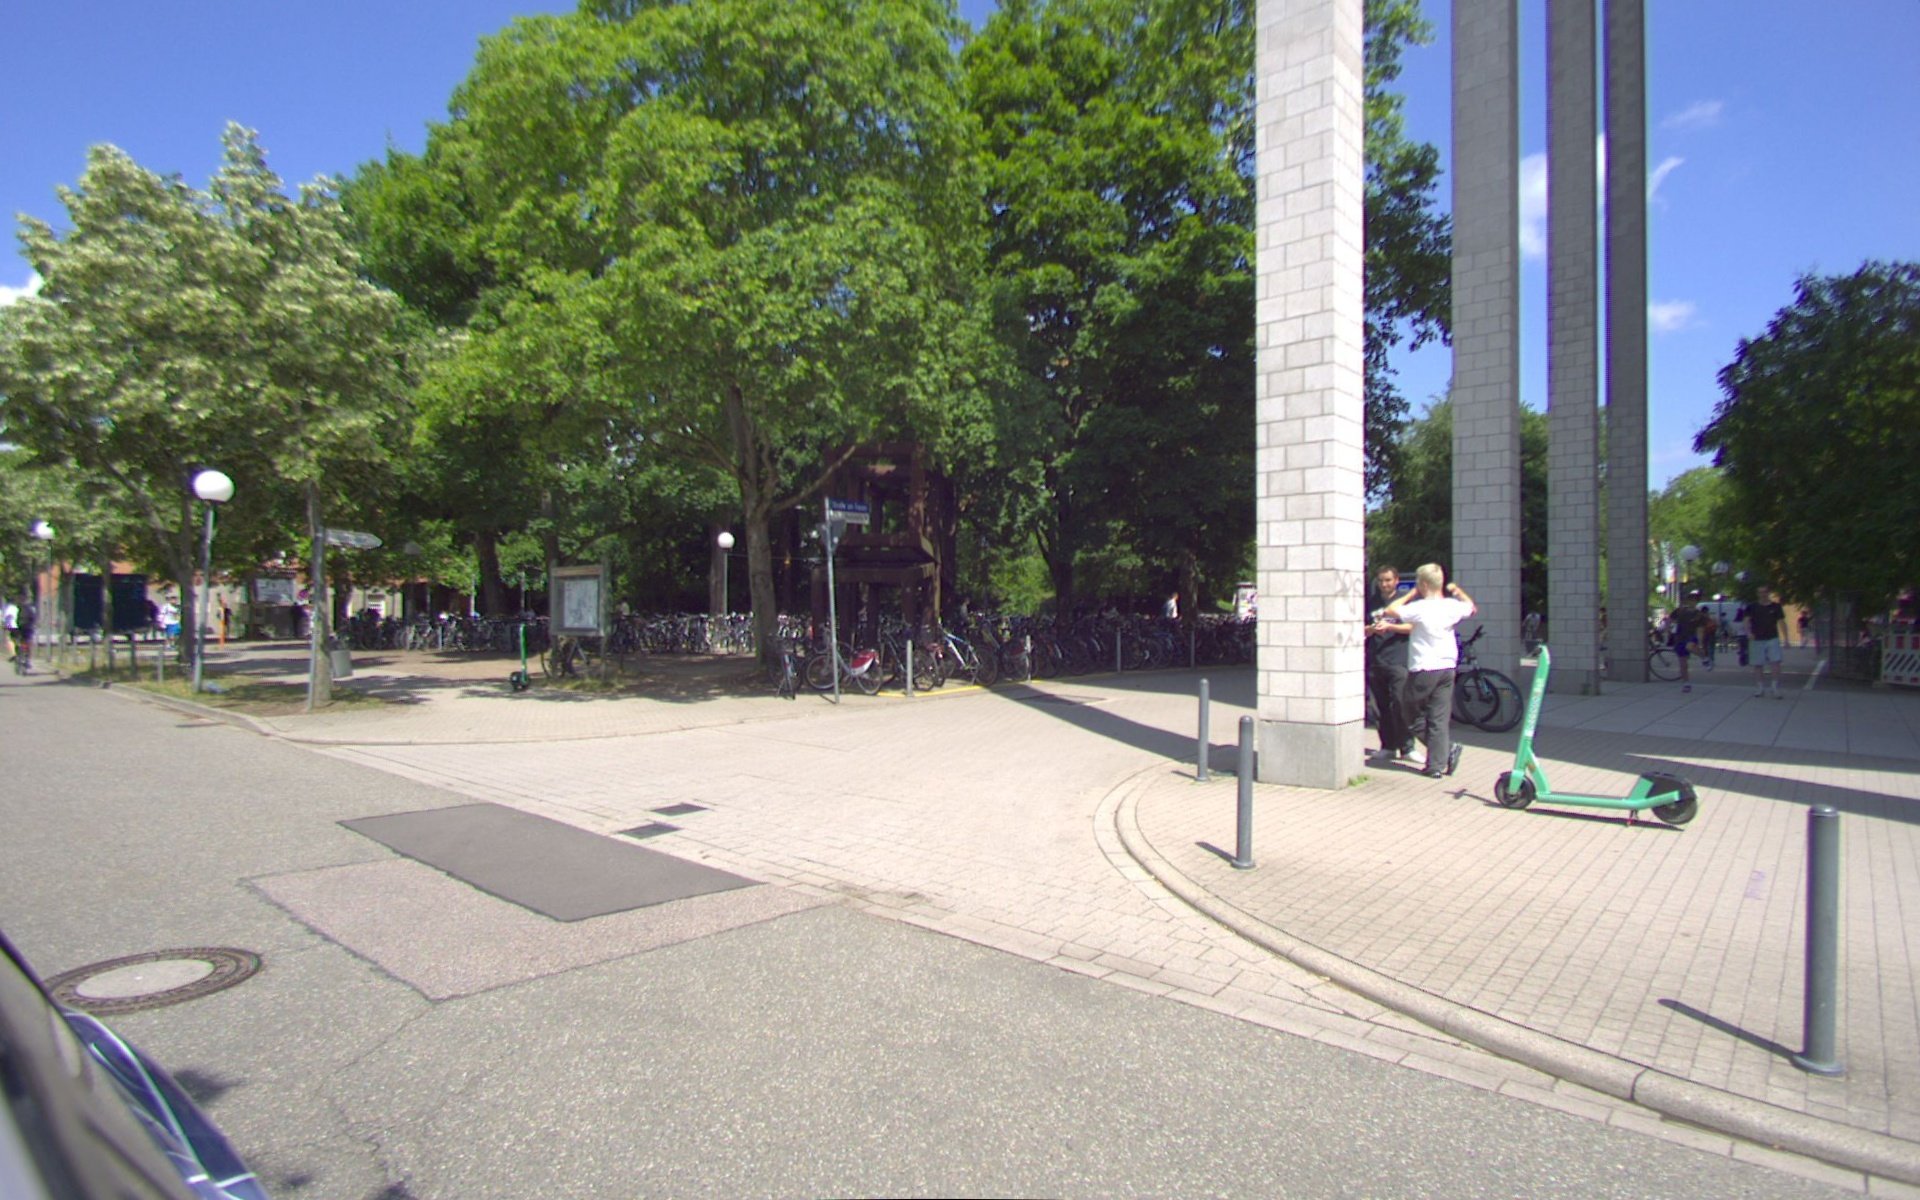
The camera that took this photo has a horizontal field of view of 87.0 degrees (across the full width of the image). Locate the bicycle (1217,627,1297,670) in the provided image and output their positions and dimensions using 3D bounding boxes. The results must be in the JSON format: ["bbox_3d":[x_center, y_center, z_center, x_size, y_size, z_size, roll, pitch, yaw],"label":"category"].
[{"bbox_3d":[7.897,1.280,26.983,1.972,1.094,0.546,-1,0,42],"label":"bicycle"}]

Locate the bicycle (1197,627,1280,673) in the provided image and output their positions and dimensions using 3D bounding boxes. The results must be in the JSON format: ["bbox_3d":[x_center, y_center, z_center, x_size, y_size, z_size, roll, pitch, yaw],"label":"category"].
[{"bbox_3d":[7.054,1.257,25.718,1.972,1.094,0.546,-1,0,42],"label":"bicycle"}]

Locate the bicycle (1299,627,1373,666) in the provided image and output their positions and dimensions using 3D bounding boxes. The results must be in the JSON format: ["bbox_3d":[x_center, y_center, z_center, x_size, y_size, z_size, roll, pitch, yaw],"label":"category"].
[{"bbox_3d":[11.158,1.364,30.097,1.972,1.094,0.546,-1,0,42],"label":"bicycle"}]

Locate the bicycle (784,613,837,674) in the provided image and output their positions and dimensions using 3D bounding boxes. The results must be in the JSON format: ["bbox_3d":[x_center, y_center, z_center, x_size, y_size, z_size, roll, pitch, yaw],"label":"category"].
[{"bbox_3d":[-3.252,0.945,22.164,0.581,1.263,2.015,-1,-2,9],"label":"bicycle"}]

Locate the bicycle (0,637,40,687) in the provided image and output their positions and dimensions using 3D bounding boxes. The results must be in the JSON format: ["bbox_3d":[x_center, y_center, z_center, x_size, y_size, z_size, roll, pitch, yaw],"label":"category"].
[{"bbox_3d":[-22.822,1.479,24.394,1.887,1.138,0.678,-1,-2,40],"label":"bicycle"}]

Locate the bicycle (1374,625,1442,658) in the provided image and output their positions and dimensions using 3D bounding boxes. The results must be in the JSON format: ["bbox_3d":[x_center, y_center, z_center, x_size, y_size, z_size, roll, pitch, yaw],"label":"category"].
[{"bbox_3d":[14.811,1.363,33.494,1.970,1.031,0.611,-1,0,37],"label":"bicycle"}]

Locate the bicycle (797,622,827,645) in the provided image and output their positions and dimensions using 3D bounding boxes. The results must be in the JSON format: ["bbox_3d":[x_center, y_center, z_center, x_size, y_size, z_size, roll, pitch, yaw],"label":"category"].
[{"bbox_3d":[-6.237,1.418,42.687,0.416,0.900,1.755,-1,-1,21],"label":"bicycle"}]

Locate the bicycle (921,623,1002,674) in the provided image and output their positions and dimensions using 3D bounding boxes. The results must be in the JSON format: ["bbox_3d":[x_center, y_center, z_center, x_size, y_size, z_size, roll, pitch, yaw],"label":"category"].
[{"bbox_3d":[0.013,0.995,21.239,1.850,1.040,0.470,-1,-1,43],"label":"bicycle"}]

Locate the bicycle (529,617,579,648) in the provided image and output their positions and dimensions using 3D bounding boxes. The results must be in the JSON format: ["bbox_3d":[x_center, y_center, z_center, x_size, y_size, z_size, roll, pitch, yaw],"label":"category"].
[{"bbox_3d":[-15.496,1.229,38.693,0.544,1.097,1.951,-1,-1,25],"label":"bicycle"}]

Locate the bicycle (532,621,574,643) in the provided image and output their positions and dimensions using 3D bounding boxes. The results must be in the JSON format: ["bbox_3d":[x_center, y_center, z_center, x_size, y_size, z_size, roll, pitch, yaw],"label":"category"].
[{"bbox_3d":[-18.542,1.433,46.142,0.544,0.949,1.866,0,0,28],"label":"bicycle"}]

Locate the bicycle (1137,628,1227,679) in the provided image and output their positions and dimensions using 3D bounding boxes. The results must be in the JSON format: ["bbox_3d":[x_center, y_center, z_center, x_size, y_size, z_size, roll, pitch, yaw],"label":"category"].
[{"bbox_3d":[5.039,1.204,23.030,1.972,1.094,0.546,-1,0,42],"label":"bicycle"}]

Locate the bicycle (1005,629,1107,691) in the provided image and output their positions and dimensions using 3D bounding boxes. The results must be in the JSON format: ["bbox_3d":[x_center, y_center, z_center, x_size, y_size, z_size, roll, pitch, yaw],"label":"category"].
[{"bbox_3d":[1.790,1.119,19.181,1.972,1.094,0.546,-1,0,42],"label":"bicycle"}]

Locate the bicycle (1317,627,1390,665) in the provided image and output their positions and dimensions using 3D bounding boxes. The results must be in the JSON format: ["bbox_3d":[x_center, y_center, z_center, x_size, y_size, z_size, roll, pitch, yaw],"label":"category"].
[{"bbox_3d":[11.881,1.382,30.613,1.972,1.094,0.546,-1,0,42],"label":"bicycle"}]

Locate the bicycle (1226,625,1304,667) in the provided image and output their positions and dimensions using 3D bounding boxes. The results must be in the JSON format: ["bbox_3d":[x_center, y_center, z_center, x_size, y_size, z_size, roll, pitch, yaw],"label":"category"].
[{"bbox_3d":[8.276,1.228,27.485,1.972,1.094,0.546,-1,0,42],"label":"bicycle"}]

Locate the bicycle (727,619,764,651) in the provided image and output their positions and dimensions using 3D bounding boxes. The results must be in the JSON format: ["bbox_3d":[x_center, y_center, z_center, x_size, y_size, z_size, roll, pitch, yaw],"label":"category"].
[{"bbox_3d":[-7.839,1.269,37.057,0.541,1.097,1.959,-1,-1,12],"label":"bicycle"}]

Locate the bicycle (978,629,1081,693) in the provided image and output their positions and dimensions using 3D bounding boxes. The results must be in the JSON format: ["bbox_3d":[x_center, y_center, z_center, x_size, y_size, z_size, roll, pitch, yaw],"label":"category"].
[{"bbox_3d":[1.268,1.105,18.782,1.972,1.094,0.546,-1,0,42],"label":"bicycle"}]

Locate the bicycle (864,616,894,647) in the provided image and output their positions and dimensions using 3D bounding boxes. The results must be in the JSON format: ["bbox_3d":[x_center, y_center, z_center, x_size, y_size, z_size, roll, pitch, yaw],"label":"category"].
[{"bbox_3d":[-3.322,1.281,41.597,0.421,1.216,1.782,-1,-1,25],"label":"bicycle"}]

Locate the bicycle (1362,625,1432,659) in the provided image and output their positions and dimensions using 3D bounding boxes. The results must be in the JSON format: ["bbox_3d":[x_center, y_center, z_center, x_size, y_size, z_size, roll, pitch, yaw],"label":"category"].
[{"bbox_3d":[14.014,1.340,32.489,1.970,1.031,0.611,-1,0,37],"label":"bicycle"}]

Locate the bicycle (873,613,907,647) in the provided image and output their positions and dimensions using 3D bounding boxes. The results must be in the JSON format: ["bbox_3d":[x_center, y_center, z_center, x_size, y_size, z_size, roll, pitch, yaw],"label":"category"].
[{"bbox_3d":[-2.487,1.054,36.162,0.727,1.117,2.299,-1,0,9],"label":"bicycle"}]

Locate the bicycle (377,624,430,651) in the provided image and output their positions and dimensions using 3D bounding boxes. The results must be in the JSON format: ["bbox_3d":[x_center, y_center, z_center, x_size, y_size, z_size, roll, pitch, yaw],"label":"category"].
[{"bbox_3d":[-22.066,1.484,40.138,0.538,1.022,1.782,-2,-1,44],"label":"bicycle"}]

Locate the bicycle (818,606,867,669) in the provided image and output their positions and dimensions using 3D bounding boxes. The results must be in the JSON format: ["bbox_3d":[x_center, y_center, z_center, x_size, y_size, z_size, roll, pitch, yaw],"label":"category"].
[{"bbox_3d":[-2.834,0.876,24.534,0.600,1.461,2.284,-1,-1,8],"label":"bicycle"}]

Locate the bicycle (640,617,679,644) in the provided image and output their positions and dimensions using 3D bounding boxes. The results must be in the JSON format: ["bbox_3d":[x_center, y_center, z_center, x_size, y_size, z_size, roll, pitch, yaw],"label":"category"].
[{"bbox_3d":[-12.969,1.320,43.682,0.592,1.099,1.946,0,0,19],"label":"bicycle"}]

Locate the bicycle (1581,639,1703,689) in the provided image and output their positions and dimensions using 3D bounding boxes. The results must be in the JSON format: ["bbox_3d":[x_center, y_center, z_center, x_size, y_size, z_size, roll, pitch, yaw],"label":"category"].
[{"bbox_3d":[13.854,1.285,20.598,1.993,0.953,0.520,-1,-2,41],"label":"bicycle"}]

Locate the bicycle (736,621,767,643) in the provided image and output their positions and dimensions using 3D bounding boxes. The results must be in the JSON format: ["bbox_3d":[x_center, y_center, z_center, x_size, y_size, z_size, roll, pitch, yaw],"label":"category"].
[{"bbox_3d":[-8.917,1.363,43.399,0.416,0.900,1.755,-1,-1,21],"label":"bicycle"}]

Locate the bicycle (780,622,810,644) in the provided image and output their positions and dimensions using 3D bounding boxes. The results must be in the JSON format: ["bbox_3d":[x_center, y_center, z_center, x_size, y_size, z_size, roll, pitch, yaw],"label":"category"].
[{"bbox_3d":[-6.993,1.401,42.968,0.416,0.900,1.755,-1,-1,21],"label":"bicycle"}]

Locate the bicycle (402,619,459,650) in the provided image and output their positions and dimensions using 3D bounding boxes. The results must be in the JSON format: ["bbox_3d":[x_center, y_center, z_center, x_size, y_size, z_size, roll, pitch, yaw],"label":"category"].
[{"bbox_3d":[-20.405,1.312,39.057,0.535,1.134,1.947,-1,-1,31],"label":"bicycle"}]

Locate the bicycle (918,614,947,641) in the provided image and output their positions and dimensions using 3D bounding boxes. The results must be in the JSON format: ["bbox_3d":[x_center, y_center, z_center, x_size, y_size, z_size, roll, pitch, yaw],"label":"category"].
[{"bbox_3d":[-1.099,1.080,40.697,0.502,1.043,2.049,-1,-1,18],"label":"bicycle"}]

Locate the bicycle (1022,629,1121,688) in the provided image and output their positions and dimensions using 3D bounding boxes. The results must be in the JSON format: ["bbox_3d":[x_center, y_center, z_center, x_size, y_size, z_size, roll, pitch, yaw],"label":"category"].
[{"bbox_3d":[2.177,1.129,19.956,1.972,1.094,0.546,-1,0,42],"label":"bicycle"}]

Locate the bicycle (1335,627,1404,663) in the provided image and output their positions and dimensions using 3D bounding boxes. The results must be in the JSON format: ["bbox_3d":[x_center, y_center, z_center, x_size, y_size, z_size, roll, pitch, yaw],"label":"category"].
[{"bbox_3d":[13.095,1.415,32.395,1.972,1.094,0.546,-1,0,42],"label":"bicycle"}]

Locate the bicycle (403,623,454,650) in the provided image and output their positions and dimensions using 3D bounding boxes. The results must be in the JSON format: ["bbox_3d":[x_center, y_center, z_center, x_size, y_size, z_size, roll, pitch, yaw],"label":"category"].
[{"bbox_3d":[-21.730,1.490,41.380,0.538,1.022,1.782,-2,-1,44],"label":"bicycle"}]

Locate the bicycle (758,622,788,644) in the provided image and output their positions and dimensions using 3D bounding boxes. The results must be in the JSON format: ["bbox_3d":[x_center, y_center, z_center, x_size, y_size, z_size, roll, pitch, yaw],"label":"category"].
[{"bbox_3d":[-7.968,1.393,43.197,0.416,0.900,1.755,-1,-1,21],"label":"bicycle"}]

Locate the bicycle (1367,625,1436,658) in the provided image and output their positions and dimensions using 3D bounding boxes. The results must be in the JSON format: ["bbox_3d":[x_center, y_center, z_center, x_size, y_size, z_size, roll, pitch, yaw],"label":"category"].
[{"bbox_3d":[14.389,1.350,33.030,1.970,1.031,0.611,-1,0,37],"label":"bicycle"}]

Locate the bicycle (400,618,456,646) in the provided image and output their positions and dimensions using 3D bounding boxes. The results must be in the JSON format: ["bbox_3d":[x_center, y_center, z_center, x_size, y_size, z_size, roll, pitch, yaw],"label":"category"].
[{"bbox_3d":[-20.917,1.252,39.819,0.535,1.011,1.947,-1,-1,31],"label":"bicycle"}]

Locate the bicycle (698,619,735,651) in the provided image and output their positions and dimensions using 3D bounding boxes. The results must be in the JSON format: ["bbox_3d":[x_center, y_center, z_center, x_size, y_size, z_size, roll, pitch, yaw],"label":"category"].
[{"bbox_3d":[-8.958,1.281,37.317,0.541,1.097,1.959,-1,-1,12],"label":"bicycle"}]

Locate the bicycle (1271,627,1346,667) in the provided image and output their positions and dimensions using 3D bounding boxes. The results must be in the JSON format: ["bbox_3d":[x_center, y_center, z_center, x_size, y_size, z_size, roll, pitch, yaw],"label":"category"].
[{"bbox_3d":[9.966,1.333,28.992,1.972,1.094,0.546,-1,0,42],"label":"bicycle"}]

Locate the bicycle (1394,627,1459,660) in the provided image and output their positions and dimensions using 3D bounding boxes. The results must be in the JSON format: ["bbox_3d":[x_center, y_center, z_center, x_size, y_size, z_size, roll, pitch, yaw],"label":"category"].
[{"bbox_3d":[16.324,1.498,35.415,1.972,1.094,0.546,-1,0,42],"label":"bicycle"}]

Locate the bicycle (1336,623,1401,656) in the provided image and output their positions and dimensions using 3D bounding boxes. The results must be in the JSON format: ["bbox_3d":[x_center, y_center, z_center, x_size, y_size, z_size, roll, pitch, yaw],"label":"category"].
[{"bbox_3d":[14.228,1.373,35.281,1.972,1.094,0.610,-1,0,42],"label":"bicycle"}]

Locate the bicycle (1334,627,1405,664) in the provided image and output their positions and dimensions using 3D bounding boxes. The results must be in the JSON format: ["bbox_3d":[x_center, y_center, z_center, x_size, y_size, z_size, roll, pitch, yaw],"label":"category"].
[{"bbox_3d":[12.809,1.406,31.665,1.972,1.094,0.546,-1,0,42],"label":"bicycle"}]

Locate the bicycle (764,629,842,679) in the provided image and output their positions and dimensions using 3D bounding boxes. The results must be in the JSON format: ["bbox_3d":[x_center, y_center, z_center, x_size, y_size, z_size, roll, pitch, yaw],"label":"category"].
[{"bbox_3d":[-3.201,1.086,20.532,1.650,0.972,0.472,-1,-1,31],"label":"bicycle"}]

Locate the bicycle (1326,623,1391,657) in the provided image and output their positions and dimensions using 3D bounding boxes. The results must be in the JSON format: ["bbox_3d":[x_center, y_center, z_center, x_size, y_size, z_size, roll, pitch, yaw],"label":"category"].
[{"bbox_3d":[13.645,1.361,34.712,1.972,1.094,0.610,-1,0,42],"label":"bicycle"}]

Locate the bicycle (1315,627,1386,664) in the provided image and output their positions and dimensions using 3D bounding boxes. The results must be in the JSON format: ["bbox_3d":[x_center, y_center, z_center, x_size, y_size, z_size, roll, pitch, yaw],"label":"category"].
[{"bbox_3d":[12.064,1.388,31.299,1.972,1.094,0.546,-1,0,42],"label":"bicycle"}]

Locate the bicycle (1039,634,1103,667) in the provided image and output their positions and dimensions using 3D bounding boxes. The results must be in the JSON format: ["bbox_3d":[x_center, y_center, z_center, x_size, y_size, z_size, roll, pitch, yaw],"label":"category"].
[{"bbox_3d":[2.714,1.237,24.783,1.542,0.768,0.322,-1,-1,9],"label":"bicycle"}]

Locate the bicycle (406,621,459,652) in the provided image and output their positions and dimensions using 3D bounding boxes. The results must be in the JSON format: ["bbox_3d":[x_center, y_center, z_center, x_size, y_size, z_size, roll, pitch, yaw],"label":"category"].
[{"bbox_3d":[-19.580,1.353,37.582,0.543,1.097,1.848,-1,-1,20],"label":"bicycle"}]

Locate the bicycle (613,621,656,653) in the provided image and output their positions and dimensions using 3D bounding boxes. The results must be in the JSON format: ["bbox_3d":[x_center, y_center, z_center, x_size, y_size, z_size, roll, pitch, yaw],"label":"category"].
[{"bbox_3d":[-11.595,1.304,36.081,0.541,1.097,1.959,-1,-1,12],"label":"bicycle"}]

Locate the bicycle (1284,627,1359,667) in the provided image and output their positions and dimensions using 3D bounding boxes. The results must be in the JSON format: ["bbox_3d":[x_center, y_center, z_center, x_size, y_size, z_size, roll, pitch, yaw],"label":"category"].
[{"bbox_3d":[10.494,1.347,29.413,1.972,1.094,0.546,-1,0,42],"label":"bicycle"}]

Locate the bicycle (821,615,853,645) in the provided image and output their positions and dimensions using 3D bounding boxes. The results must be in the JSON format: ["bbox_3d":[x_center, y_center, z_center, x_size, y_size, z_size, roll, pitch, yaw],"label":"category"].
[{"bbox_3d":[-5.121,1.233,42.276,0.421,1.216,1.782,-1,-1,25],"label":"bicycle"}]
